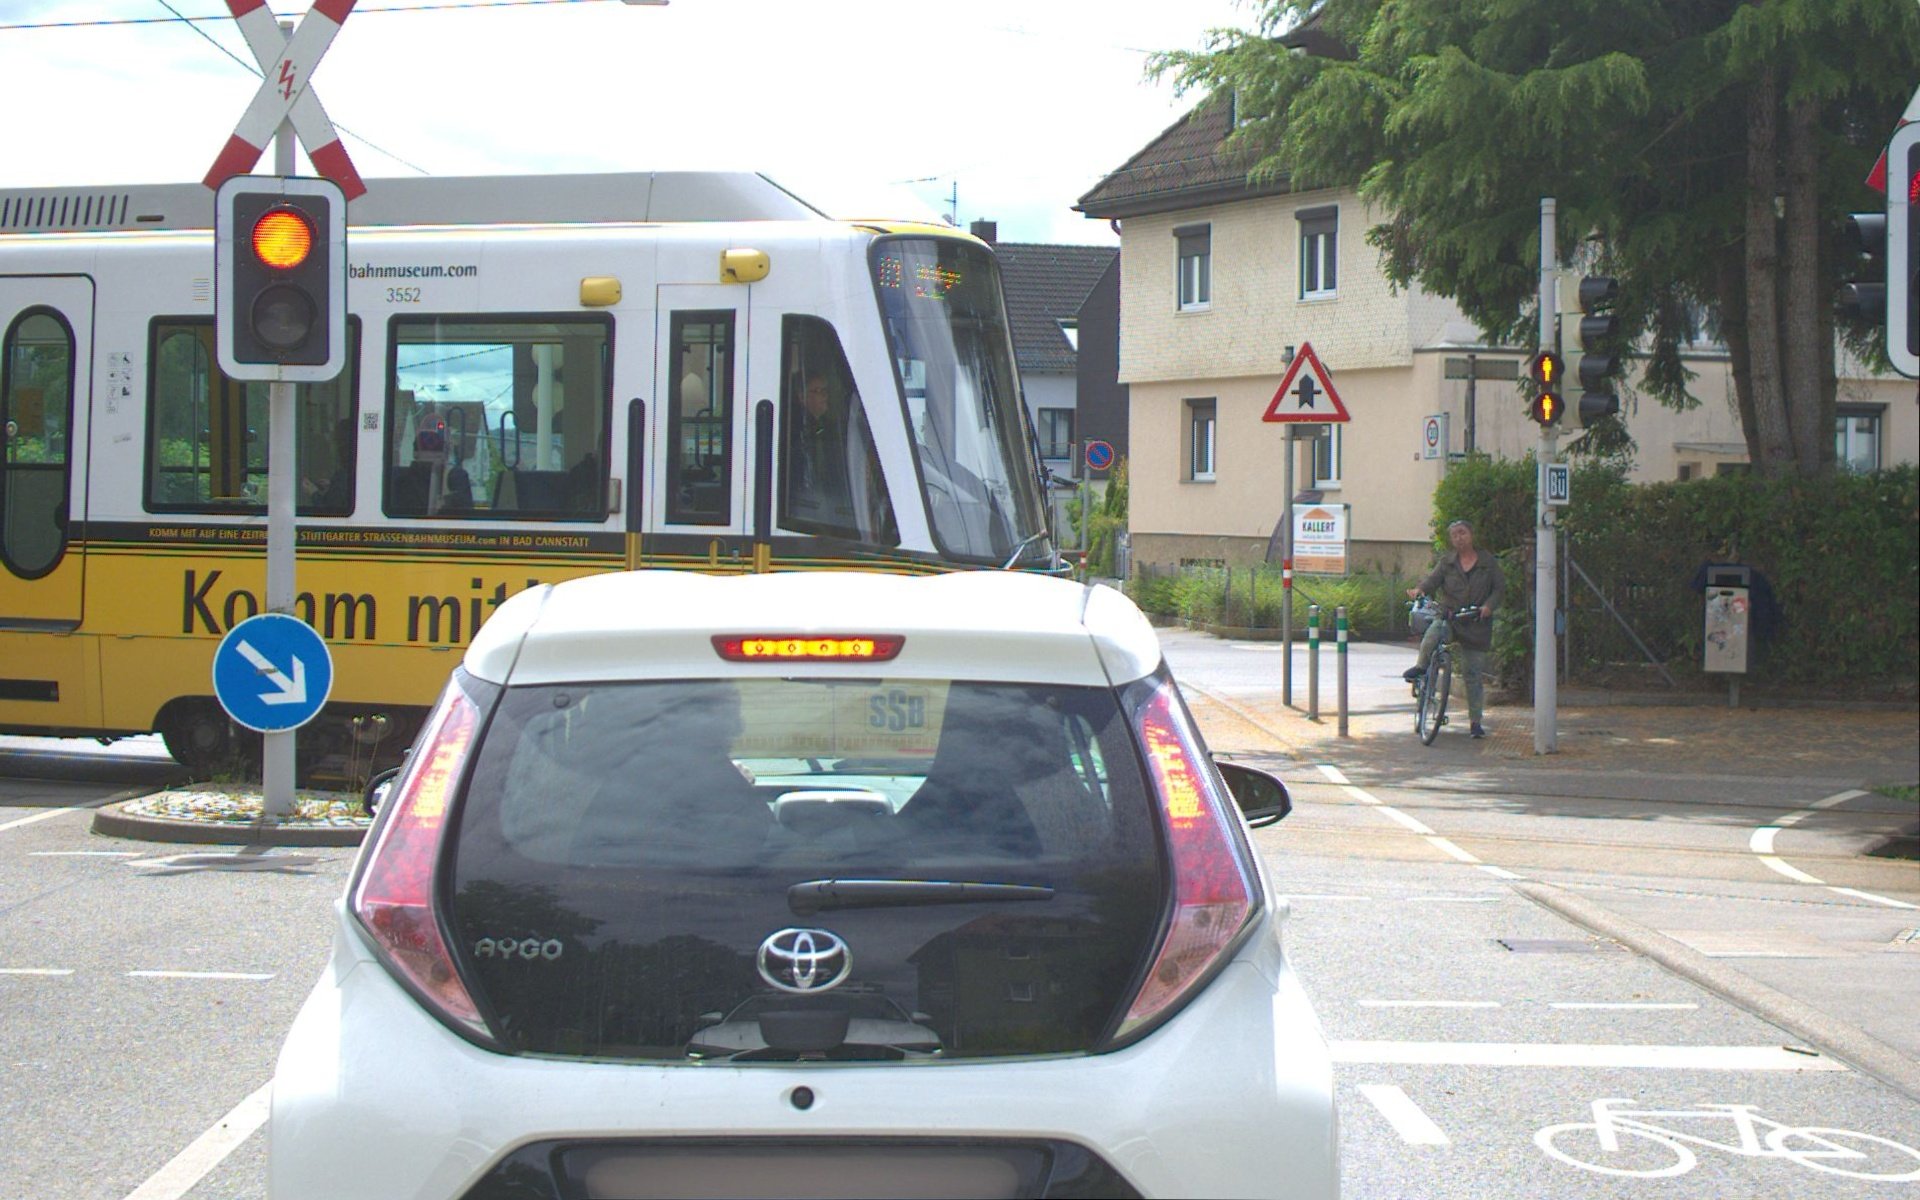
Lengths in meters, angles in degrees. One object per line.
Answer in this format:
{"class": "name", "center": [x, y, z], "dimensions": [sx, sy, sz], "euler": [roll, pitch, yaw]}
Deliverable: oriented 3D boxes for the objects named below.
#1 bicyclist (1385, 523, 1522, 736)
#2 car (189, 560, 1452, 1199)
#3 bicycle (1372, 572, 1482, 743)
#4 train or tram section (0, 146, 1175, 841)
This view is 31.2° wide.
{"class": "bicyclist", "center": [3.765, 0.215, 26.264], "dimensions": [0.840, 1.548, 0.756], "euler": [-2, 3, -6]}
{"class": "car", "center": [-0.313, 0.667, 6.567], "dimensions": [1.721, 1.437, 3.709], "euler": [1, 1, -4]}
{"class": "bicycle", "center": [3.544, 0.420, 26.173], "dimensions": [0.457, 1.168, 1.480], "euler": [-2, 4, -6]}
{"class": "train or tram section", "center": [-8.075, -0.872, 23.323], "dimensions": [19.080, 3.691, 2.916], "euler": [2, 2, 23]}
